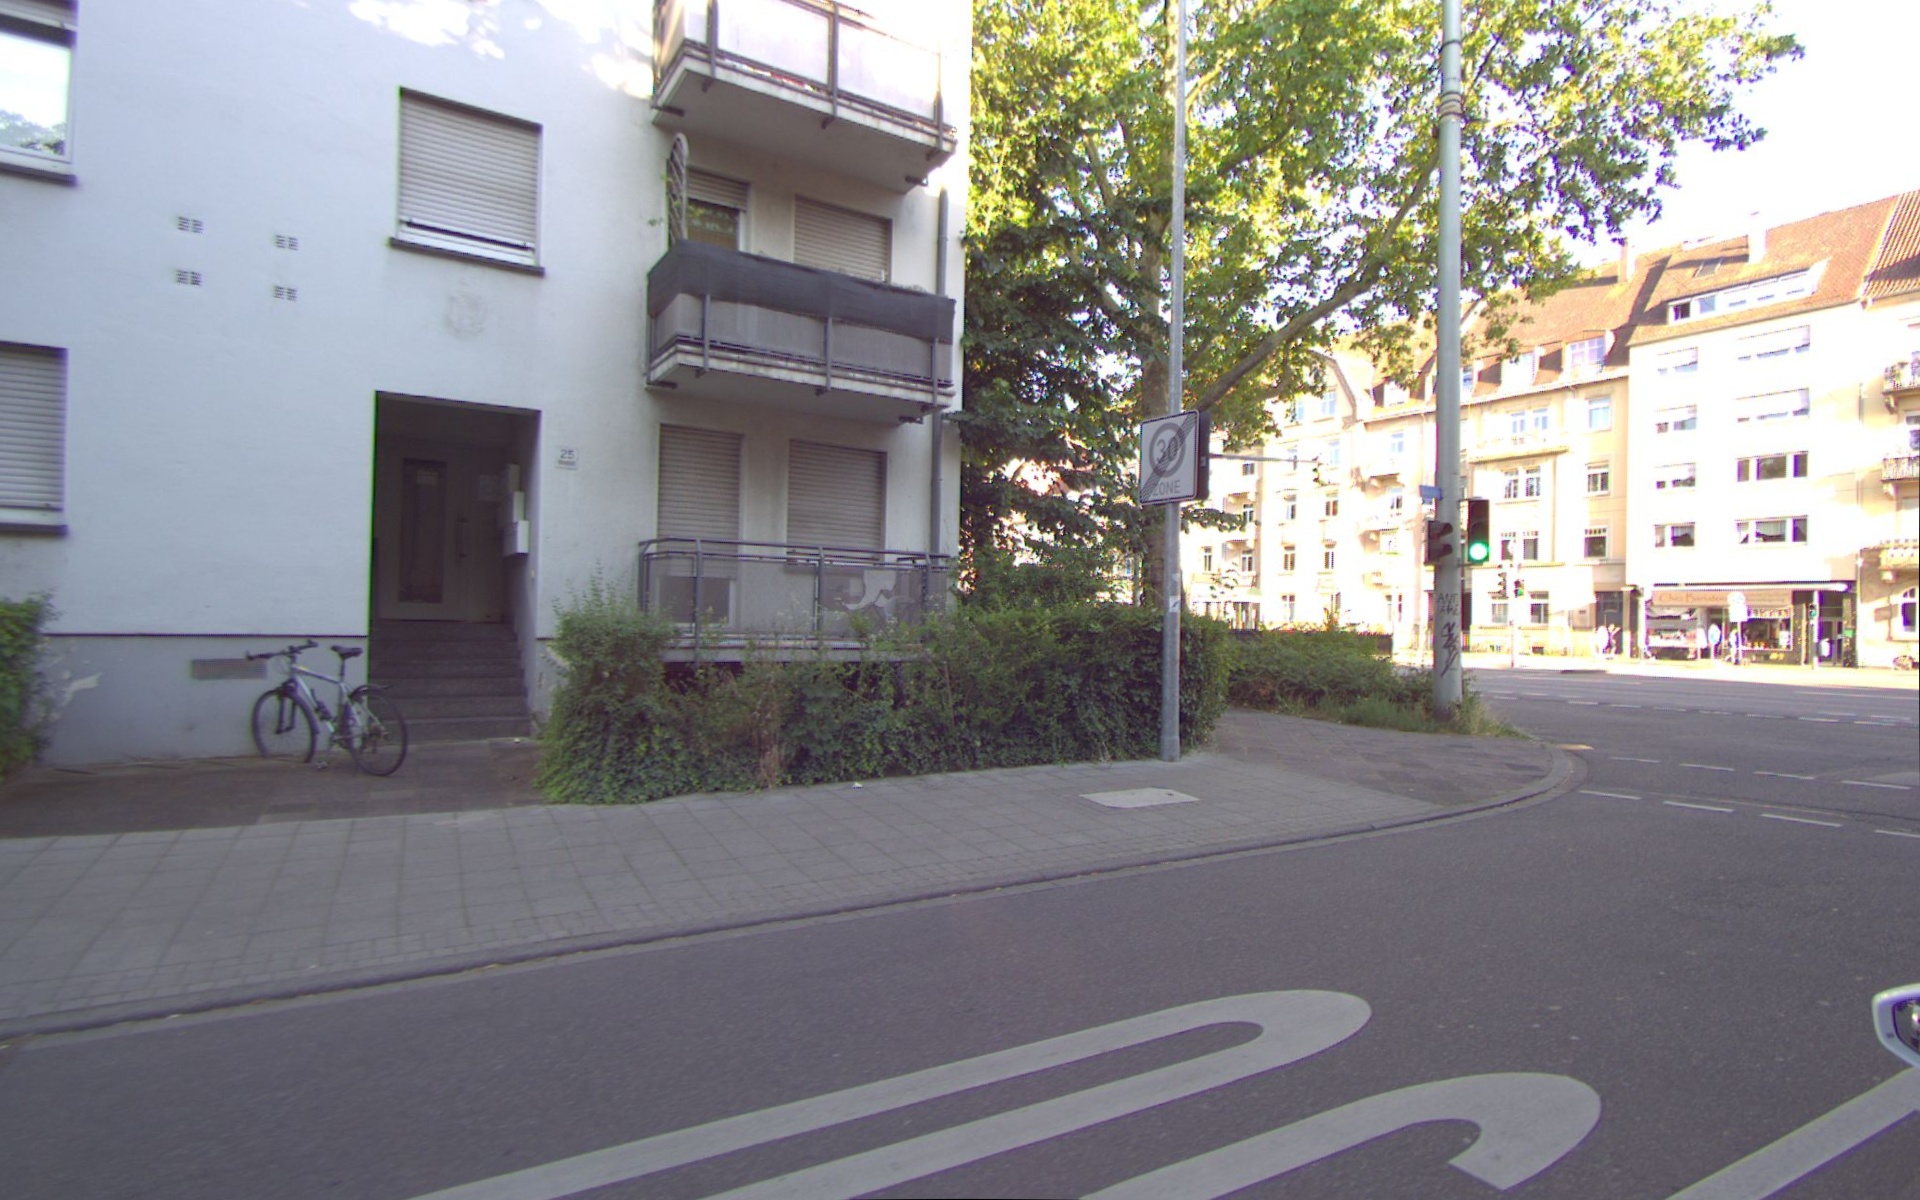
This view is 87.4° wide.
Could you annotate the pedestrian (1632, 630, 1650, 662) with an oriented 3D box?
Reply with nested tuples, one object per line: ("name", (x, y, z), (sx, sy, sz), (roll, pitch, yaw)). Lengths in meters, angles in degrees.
("pedestrian", (34.167, 2.302, 50.388), (0.463, 1.584, 0.559), (2, 0, -36))

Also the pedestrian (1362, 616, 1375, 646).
("pedestrian", (26.309, 1.997, 64.684), (0.633, 1.862, 0.473), (2, 0, -30))

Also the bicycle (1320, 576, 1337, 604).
("bicycle", (24.133, -0.657, 65.747), (0.553, 1.760, 0.882), (2, 0, -28))

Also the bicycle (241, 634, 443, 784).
("bicycle", (-5.009, 0.848, 8.135), (1.577, 1.033, 0.477), (3, 0, 20))

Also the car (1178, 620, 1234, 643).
("car", (17.484, 2.228, 71.412), (3.671, 1.483, 1.929), (2, 0, -37))

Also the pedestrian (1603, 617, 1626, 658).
("pedestrian", (33.394, 1.916, 51.225), (0.758, 2.040, 0.665), (1, -1, -23))

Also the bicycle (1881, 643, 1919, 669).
("bicycle", (40.435, 2.376, 42.719), (0.488, 1.042, 1.796), (1, -1, -33))

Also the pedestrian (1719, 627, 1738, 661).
("pedestrian", (36.680, 2.111, 47.955), (0.463, 1.584, 0.559), (2, 0, -36))
